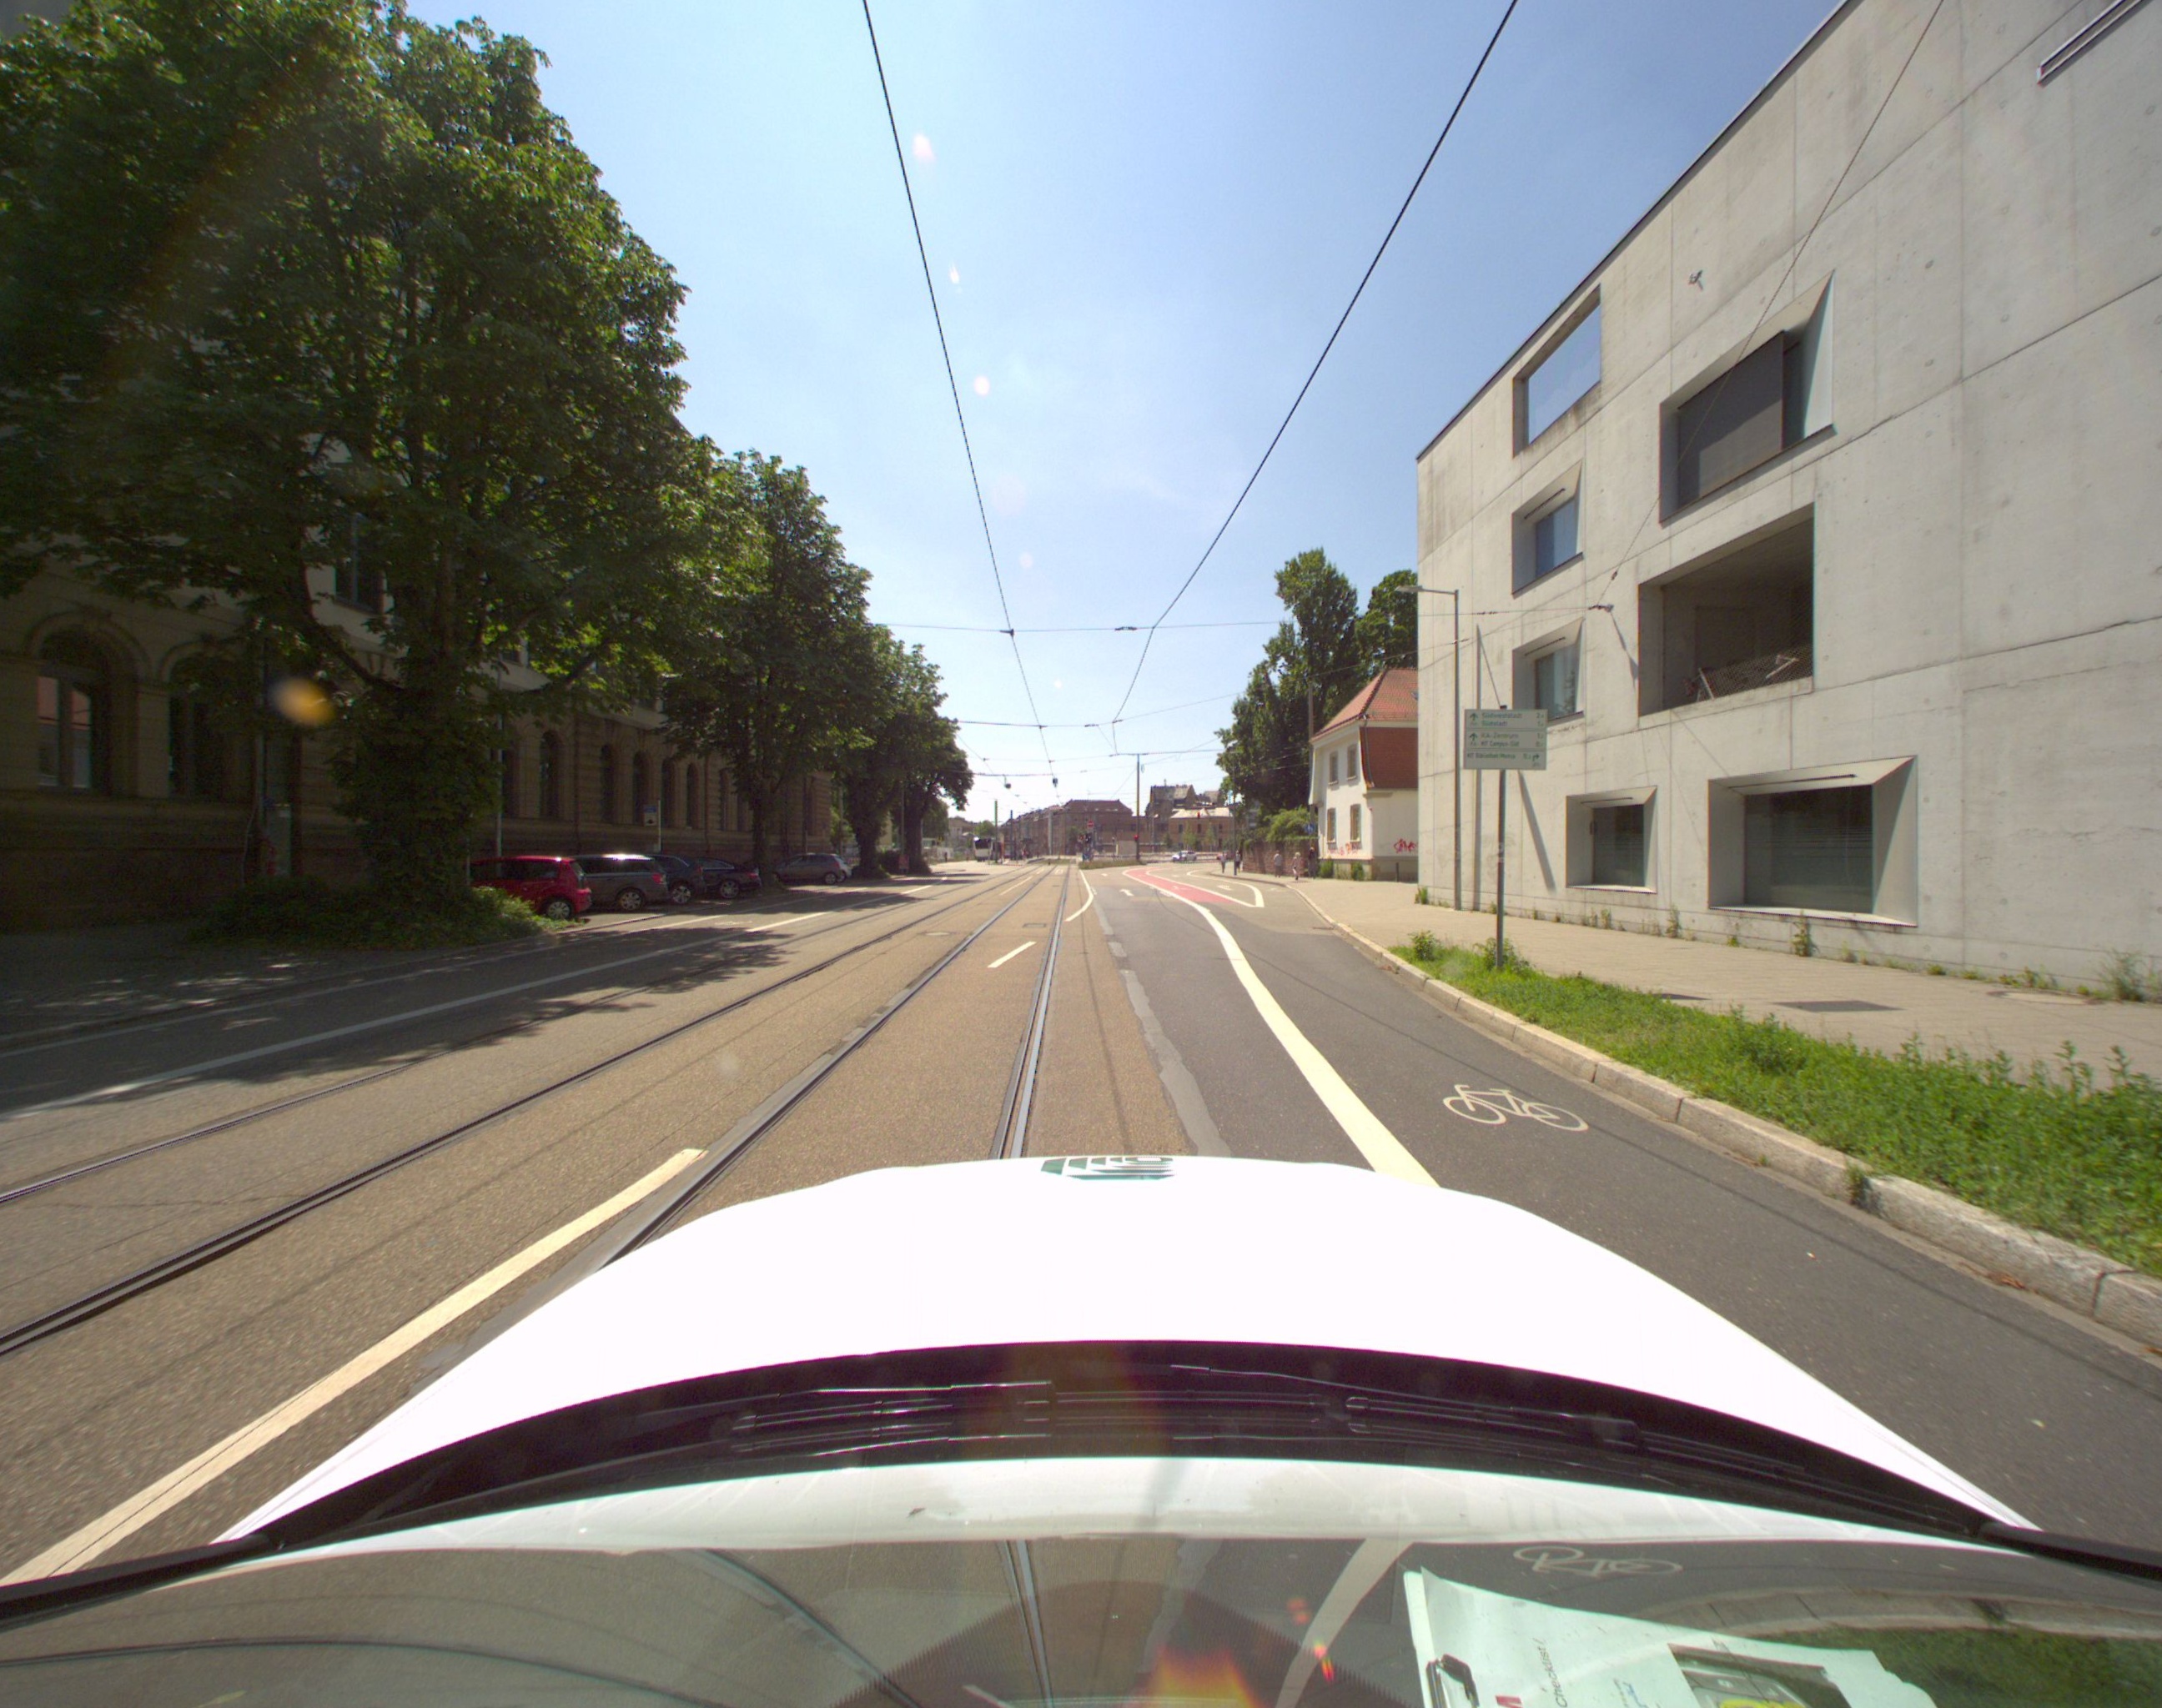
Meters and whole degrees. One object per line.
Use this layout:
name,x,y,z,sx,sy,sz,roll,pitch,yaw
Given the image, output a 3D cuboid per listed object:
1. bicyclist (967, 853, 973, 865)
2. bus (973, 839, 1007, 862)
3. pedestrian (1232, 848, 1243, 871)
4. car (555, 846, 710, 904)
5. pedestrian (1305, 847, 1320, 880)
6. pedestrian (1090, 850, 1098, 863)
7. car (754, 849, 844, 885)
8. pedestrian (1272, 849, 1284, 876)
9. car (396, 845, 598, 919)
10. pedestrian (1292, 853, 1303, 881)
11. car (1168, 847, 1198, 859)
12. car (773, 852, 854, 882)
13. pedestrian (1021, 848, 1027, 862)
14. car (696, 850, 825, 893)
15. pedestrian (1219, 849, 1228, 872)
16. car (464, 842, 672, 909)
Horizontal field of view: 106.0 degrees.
bicyclist,-16.497,0.704,120.850,0.819,1.709,0.770,1,0,-2
bus,-12.911,-0.477,117.227,3.000,3.158,17.496,0,0,0
pedestrian,12.247,0.441,63.691,0.810,1.808,0.701,1,0,3
car,-13.074,0.591,23.901,3.829,1.577,1.776,1,0,-30
pedestrian,12.784,0.536,45.038,0.623,1.773,0.720,-3,0,10
pedestrian,1.866,0.309,115.155,0.771,1.864,0.722,2,-2,-42
car,-13.036,0.600,37.650,3.686,1.520,1.654,3,-1,-29
pedestrian,12.206,0.541,50.471,0.657,1.647,0.625,1,0,4
car,-12.801,0.615,18.099,3.359,1.516,1.655,2,-1,-27
pedestrian,11.859,0.713,44.647,0.513,1.533,0.598,1,0,4
car,13.235,-0.074,105.169,1.974,1.438,4.735,0,-1,33
car,-13.256,0.663,40.402,3.559,1.406,1.686,2,-1,-29
pedestrian,-7.350,0.134,105.274,0.673,1.909,0.638,1,0,-10
car,-10.808,0.571,27.507,3.942,1.374,1.655,0,0,-27
pedestrian,11.166,0.512,63.812,0.674,1.808,0.748,1,0,3
car,-13.066,0.579,21.040,4.334,1.584,1.653,2,-1,-30
